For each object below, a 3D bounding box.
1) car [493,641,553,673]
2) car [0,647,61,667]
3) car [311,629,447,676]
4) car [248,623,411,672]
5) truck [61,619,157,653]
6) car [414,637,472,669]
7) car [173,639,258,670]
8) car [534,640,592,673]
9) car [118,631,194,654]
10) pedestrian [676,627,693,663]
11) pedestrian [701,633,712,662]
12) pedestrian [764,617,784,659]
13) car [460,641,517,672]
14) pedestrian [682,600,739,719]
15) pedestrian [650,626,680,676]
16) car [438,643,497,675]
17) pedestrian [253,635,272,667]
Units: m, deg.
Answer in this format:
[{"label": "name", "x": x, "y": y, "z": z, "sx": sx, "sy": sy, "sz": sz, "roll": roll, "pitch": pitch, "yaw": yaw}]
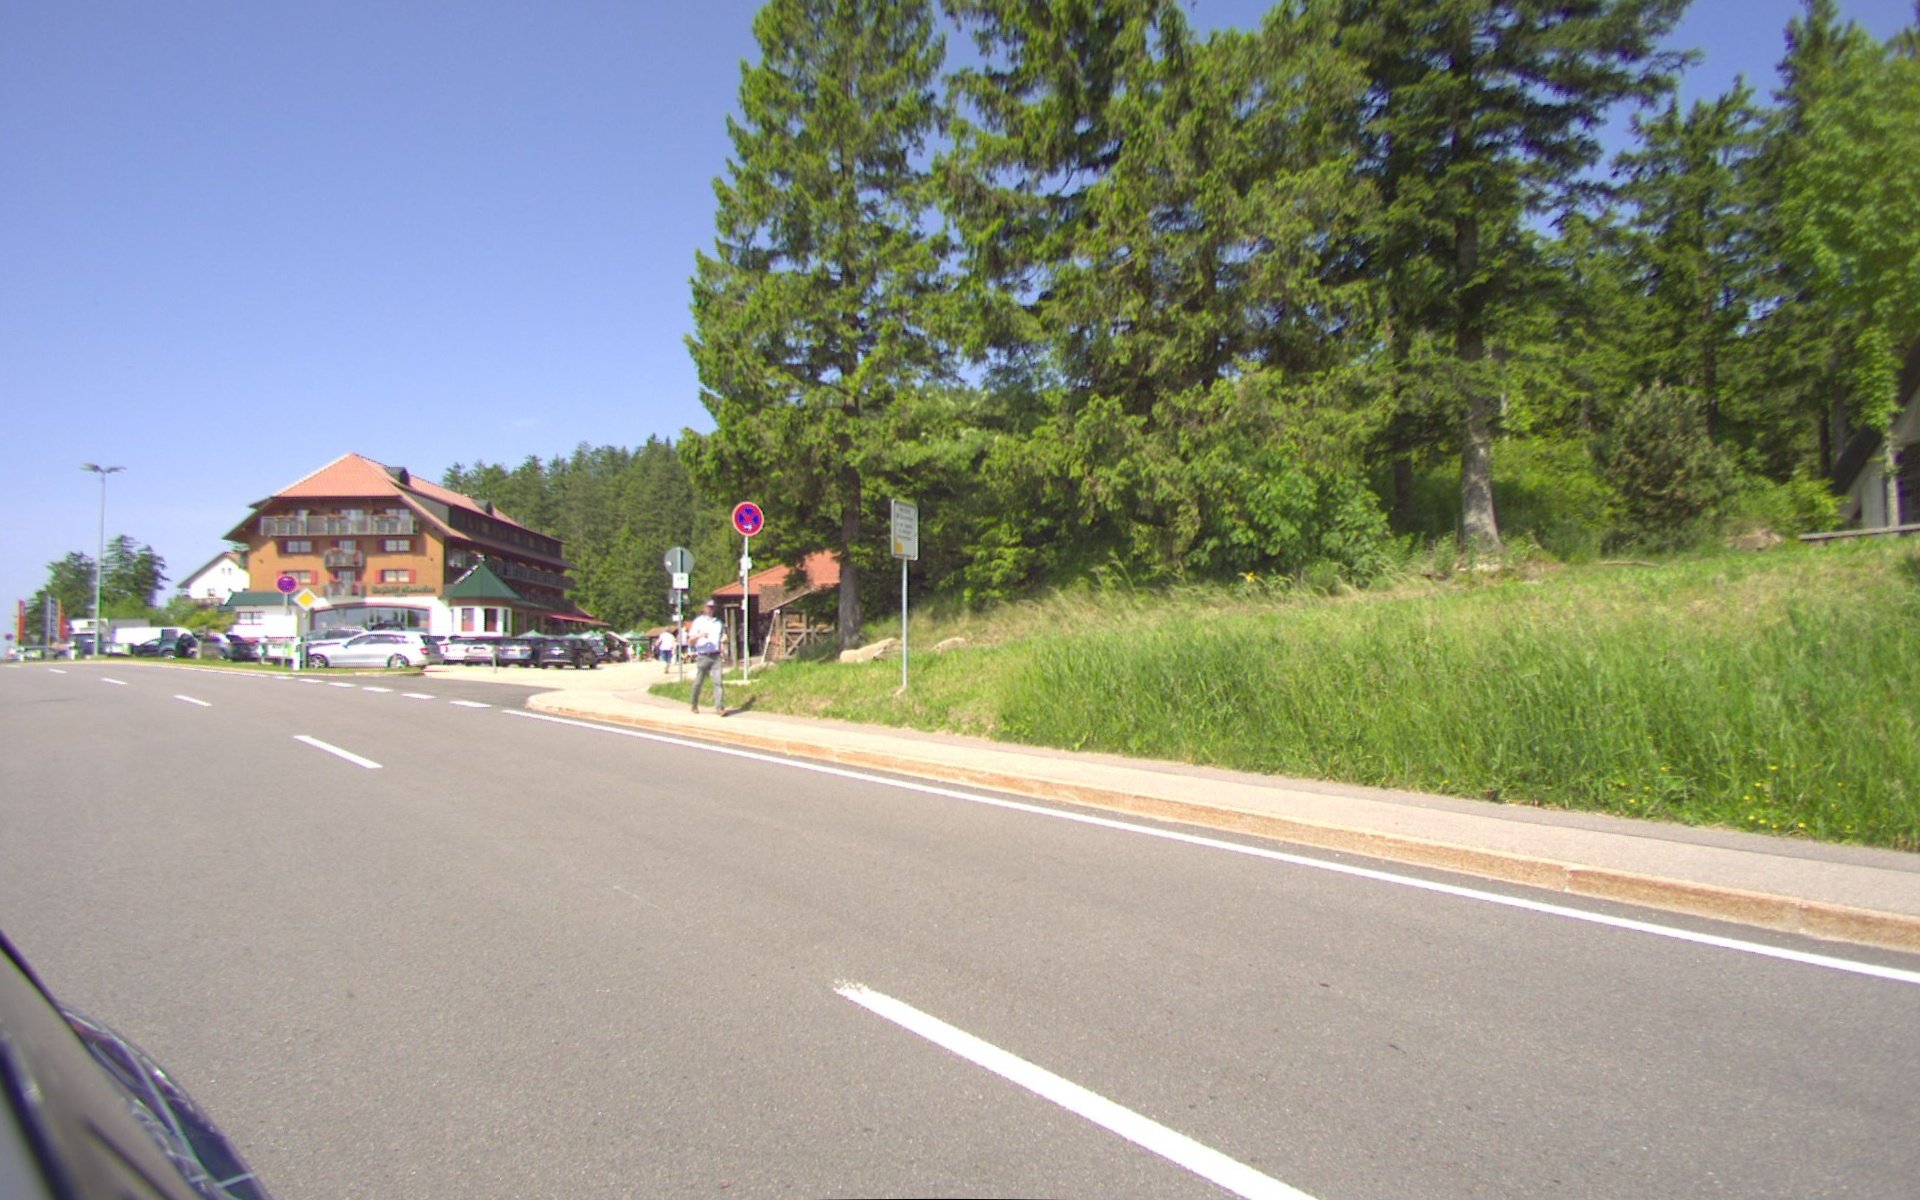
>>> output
[{"label": "car", "x": -20.508, "y": 2.658, "z": 47.612, "sx": 1.692, "sy": 1.445, "sz": 3.320, "roll": 0, "pitch": -3, "yaw": -7}, {"label": "car", "x": -75.228, "y": 4.596, "z": 81.427, "sx": 1.995, "sy": 1.421, "sz": 3.953, "roll": -1, "pitch": -1, "yaw": 35}, {"label": "car", "x": -21.029, "y": 1.895, "z": 36.763, "sx": 3.901, "sy": 1.600, "sz": 1.793, "roll": 0, "pitch": -2, "yaw": -7}, {"label": "car", "x": -25.564, "y": 1.905, "z": 41.212, "sx": 5.275, "sy": 1.884, "sz": 2.005, "roll": 0, "pitch": -2, "yaw": -12}, {"label": "truck", "x": -77.316, "y": 3.238, "z": 92.169, "sx": 2.823, "sy": 2.851, "sz": 8.781, "roll": -1, "pitch": -1, "yaw": -11}, {"label": "car", "x": -27.576, "y": 2.787, "z": 54.020, "sx": 1.689, "sy": 1.564, "sz": 3.138, "roll": -1, "pitch": -1, "yaw": -4}, {"label": "car", "x": -39.773, "y": 2.894, "z": 54.083, "sx": 3.287, "sy": 1.604, "sz": 1.716, "roll": -1, "pitch": -2, "yaw": -1}, {"label": "car", "x": -18.021, "y": 2.554, "z": 46.111, "sx": 1.686, "sy": 1.406, "sz": 3.320, "roll": 0, "pitch": -3, "yaw": -7}, {"label": "car", "x": -70.562, "y": 3.685, "z": 88.925, "sx": 5.172, "sy": 1.920, "sz": 2.003, "roll": 0, "pitch": -2, "yaw": -39}, {"label": "pedestrian", "x": -13.101, "y": 2.143, "z": 48.121, "sx": 0.759, "sy": 1.679, "sz": 0.891, "roll": 0, "pitch": -2, "yaw": -15}, {"label": "pedestrian", "x": -14.394, "y": 2.687, "z": 57.464, "sx": 0.514, "sy": 1.635, "sz": 0.538, "roll": 0, "pitch": -2, "yaw": -9}, {"label": "pedestrian", "x": -9.120, "y": 1.873, "z": 49.658, "sx": 0.883, "sy": 2.029, "sz": 0.789, "roll": -1, "pitch": -1, "yaw": -6}, {"label": "car", "x": -23.096, "y": 2.750, "z": 49.664, "sx": 1.615, "sy": 1.445, "sz": 3.320, "roll": 0, "pitch": -3, "yaw": -7}, {"label": "pedestrian", "x": -3.818, "y": 0.896, "z": 15.496, "sx": 0.687, "sy": 1.754, "sz": 0.573, "roll": -2, "pitch": -2, "yaw": 43}, {"label": "pedestrian", "x": -10.611, "y": 1.830, "z": 36.392, "sx": 0.900, "sy": 1.754, "sz": 0.636, "roll": -1, "pitch": -2, "yaw": 0}, {"label": "car", "x": -25.272, "y": 3.006, "z": 52.025, "sx": 1.704, "sy": 1.476, "sz": 3.527, "roll": -1, "pitch": -1, "yaw": -8}, {"label": "pedestrian", "x": -38.929, "y": 2.835, "z": 56.484, "sx": 0.768, "sy": 1.712, "sz": 0.684, "roll": 1, "pitch": -2, "yaw": -41}]
